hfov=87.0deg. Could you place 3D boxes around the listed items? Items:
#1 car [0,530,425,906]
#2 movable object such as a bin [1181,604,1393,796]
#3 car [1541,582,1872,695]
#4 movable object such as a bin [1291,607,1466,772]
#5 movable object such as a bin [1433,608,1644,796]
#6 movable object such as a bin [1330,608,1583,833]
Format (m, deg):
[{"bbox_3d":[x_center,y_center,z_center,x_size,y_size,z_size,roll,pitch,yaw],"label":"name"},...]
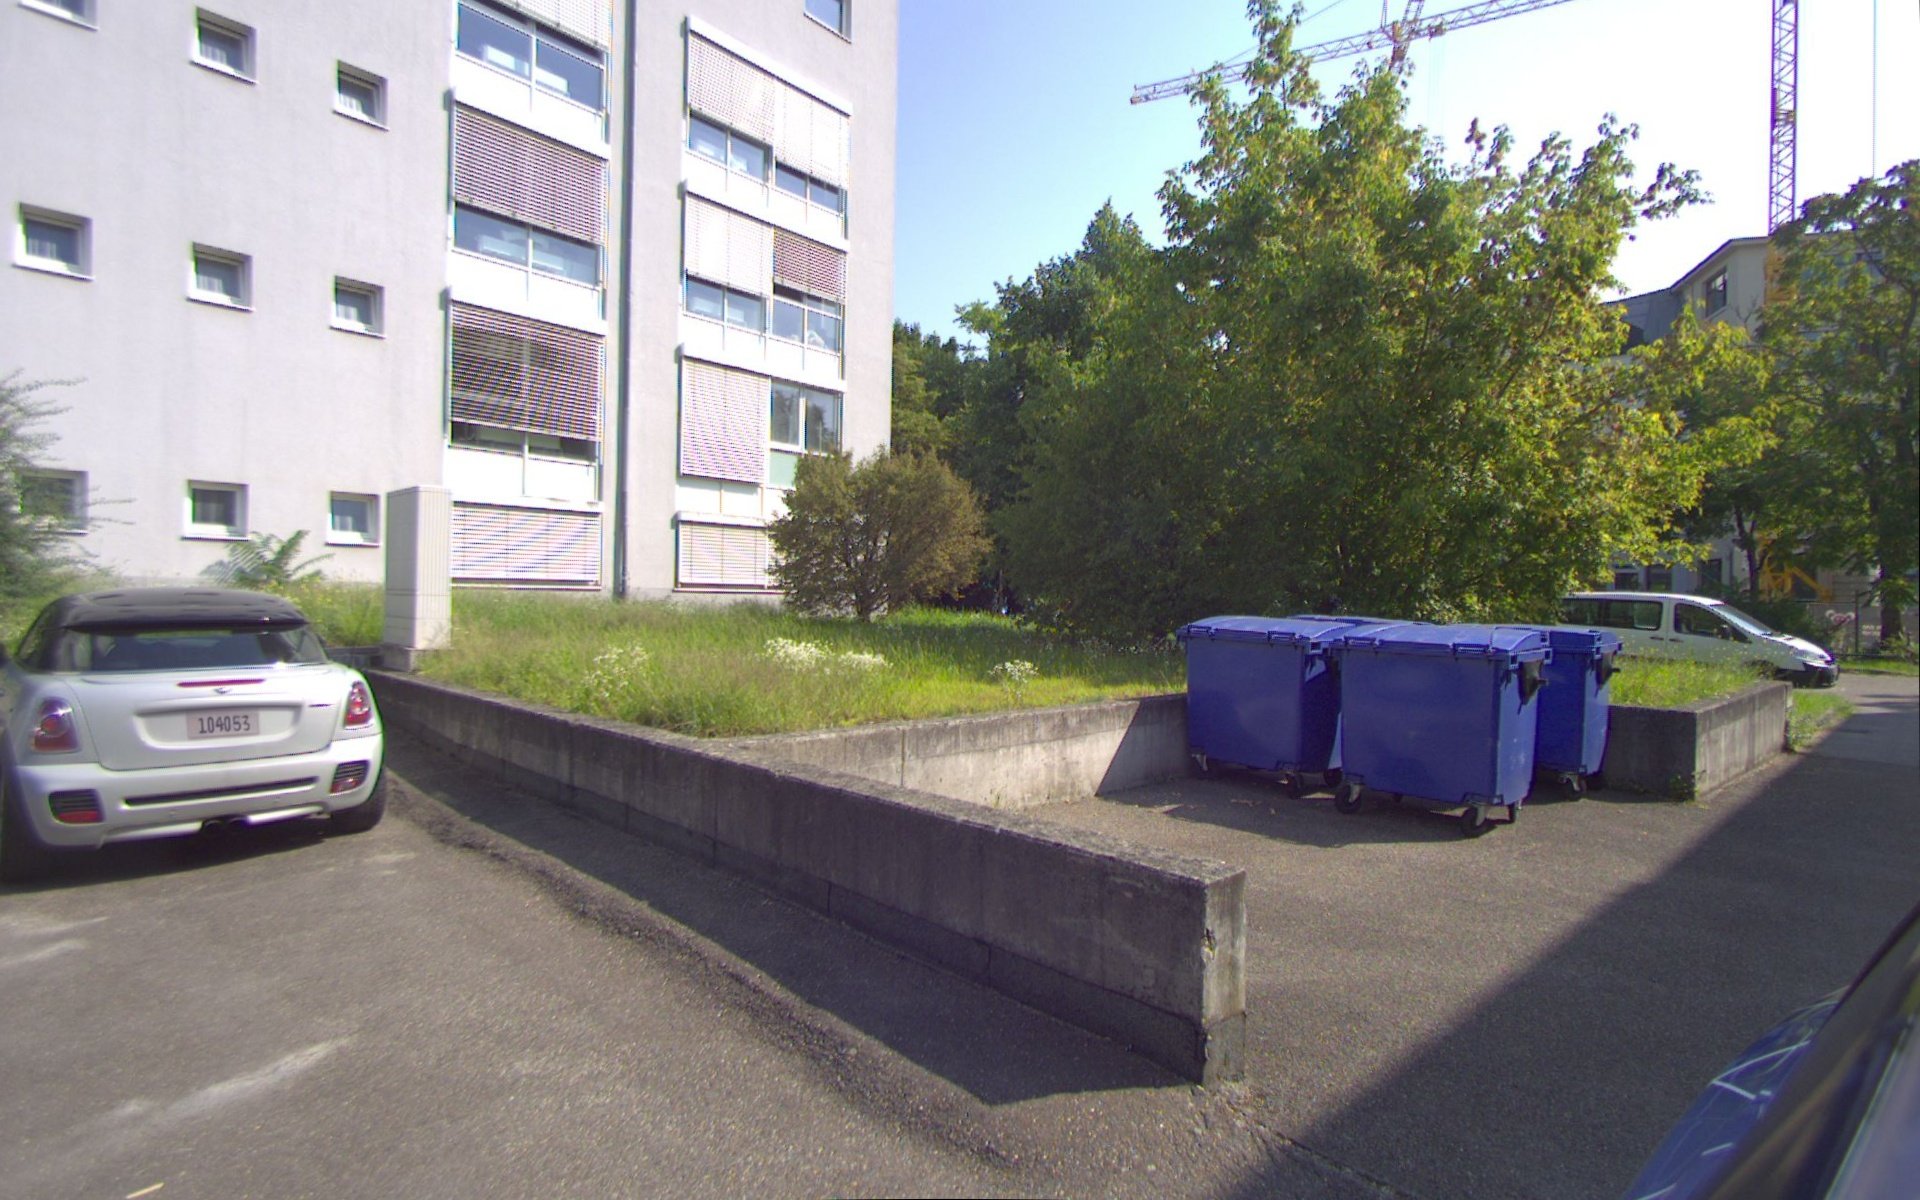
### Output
[{"bbox_3d":[-4.953,0.435,6.373,3.622,1.563,1.774,6,5,44],"label":"car"},{"bbox_3d":[2.617,0.724,8.133,1.097,1.357,1.237,0,0,-40],"label":"movable object such as a bin"},{"bbox_3d":[14.559,0.653,20.001,2.009,1.945,4.964,0,0,-42],"label":"car"},{"bbox_3d":[3.842,0.752,9.294,1.225,1.357,1.060,0,0,42],"label":"movable object such as a bin"},{"bbox_3d":[4.749,0.763,8.318,1.309,1.357,1.083,0,0,43],"label":"movable object such as a bin"},{"bbox_3d":[3.496,0.752,7.135,1.175,1.357,1.301,0,0,-45],"label":"movable object such as a bin"}]
